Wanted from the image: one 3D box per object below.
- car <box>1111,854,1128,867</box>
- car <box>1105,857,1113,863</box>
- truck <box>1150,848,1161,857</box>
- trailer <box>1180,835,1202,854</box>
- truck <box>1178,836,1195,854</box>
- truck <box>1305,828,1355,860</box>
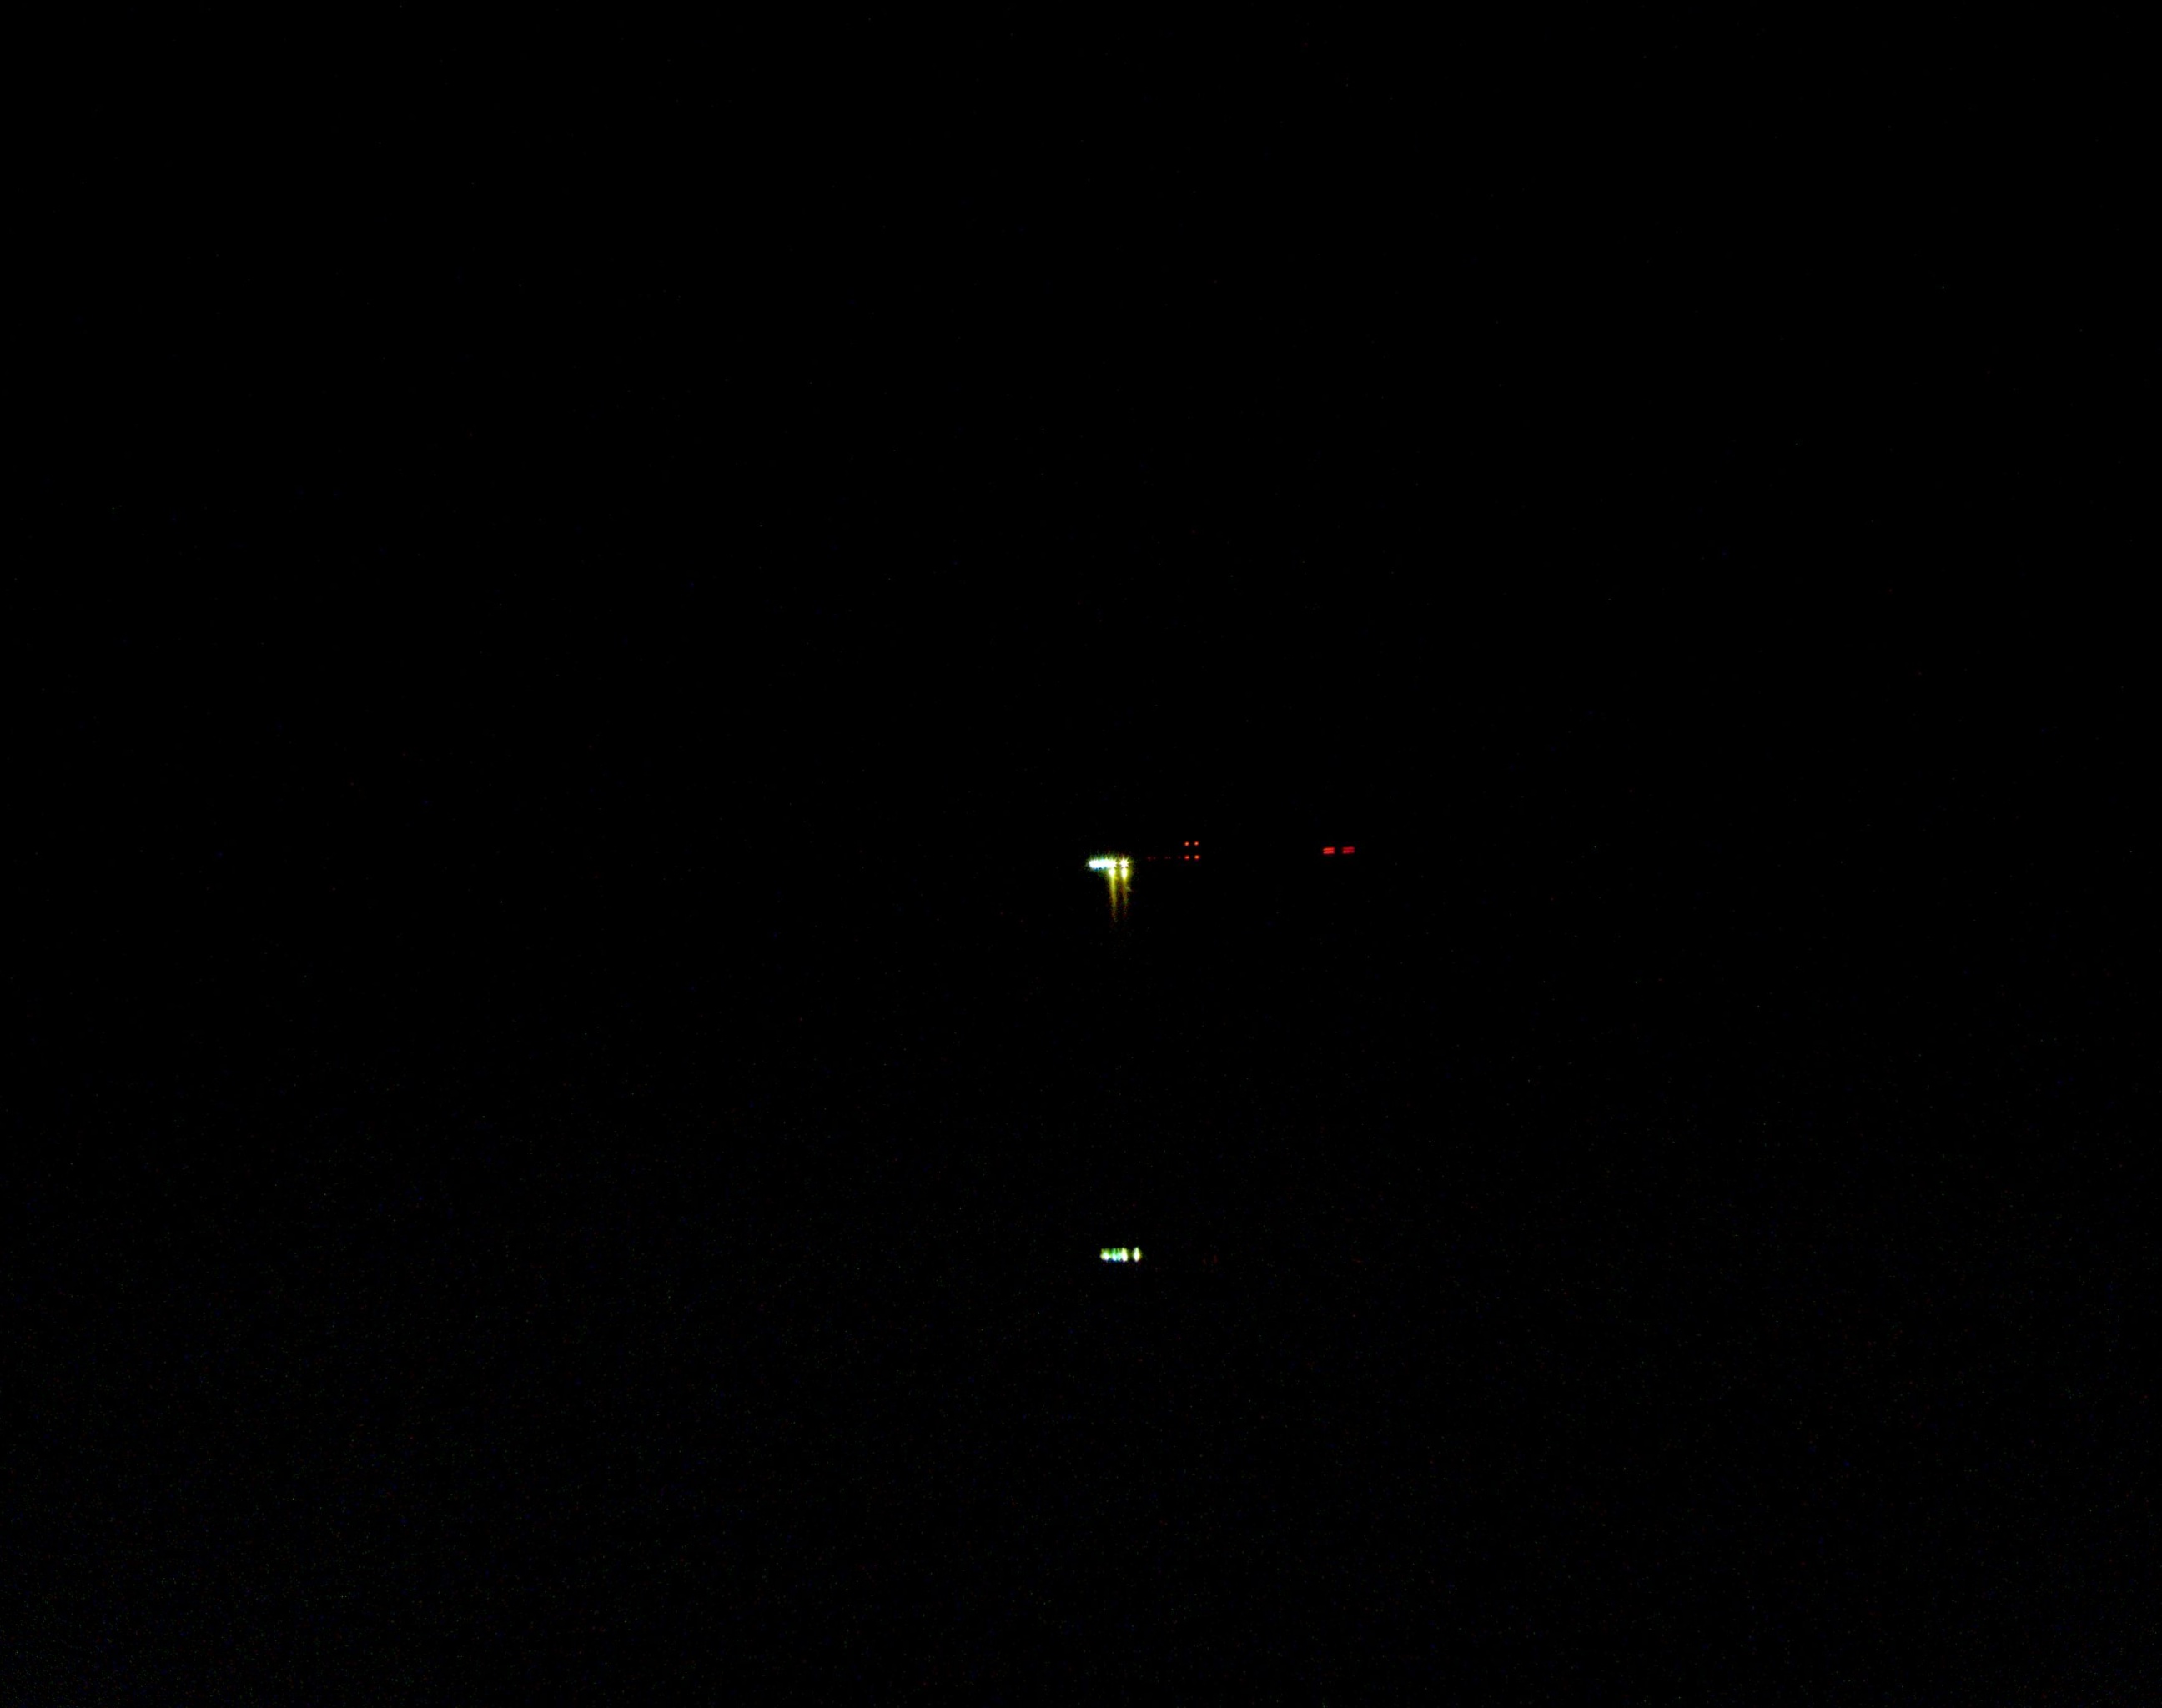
[{"bbox_3d":[4.916,0.831,97.057,1.998,1.423,4.330,-5,0,2],"label":"car"},{"bbox_3d":[8.877,1.982,240.432,1.999,1.725,4.221,-1,4,-2],"label":"car"},{"bbox_3d":[25.485,-0.511,260.958,2.879,2.626,7.886,-4,0,1],"label":"truck"},{"bbox_3d":[26.625,-2.235,184.406,3.333,4.407,14.025,-3,0,1],"label":"trailer"},{"bbox_3d":[26.841,-2.203,193.081,3.333,4.407,6.708,-3,0,1],"label":"truck"},{"bbox_3d":[23.843,-0.899,73.125,2.202,2.710,7.625,-5,0,2],"label":"truck"}]
